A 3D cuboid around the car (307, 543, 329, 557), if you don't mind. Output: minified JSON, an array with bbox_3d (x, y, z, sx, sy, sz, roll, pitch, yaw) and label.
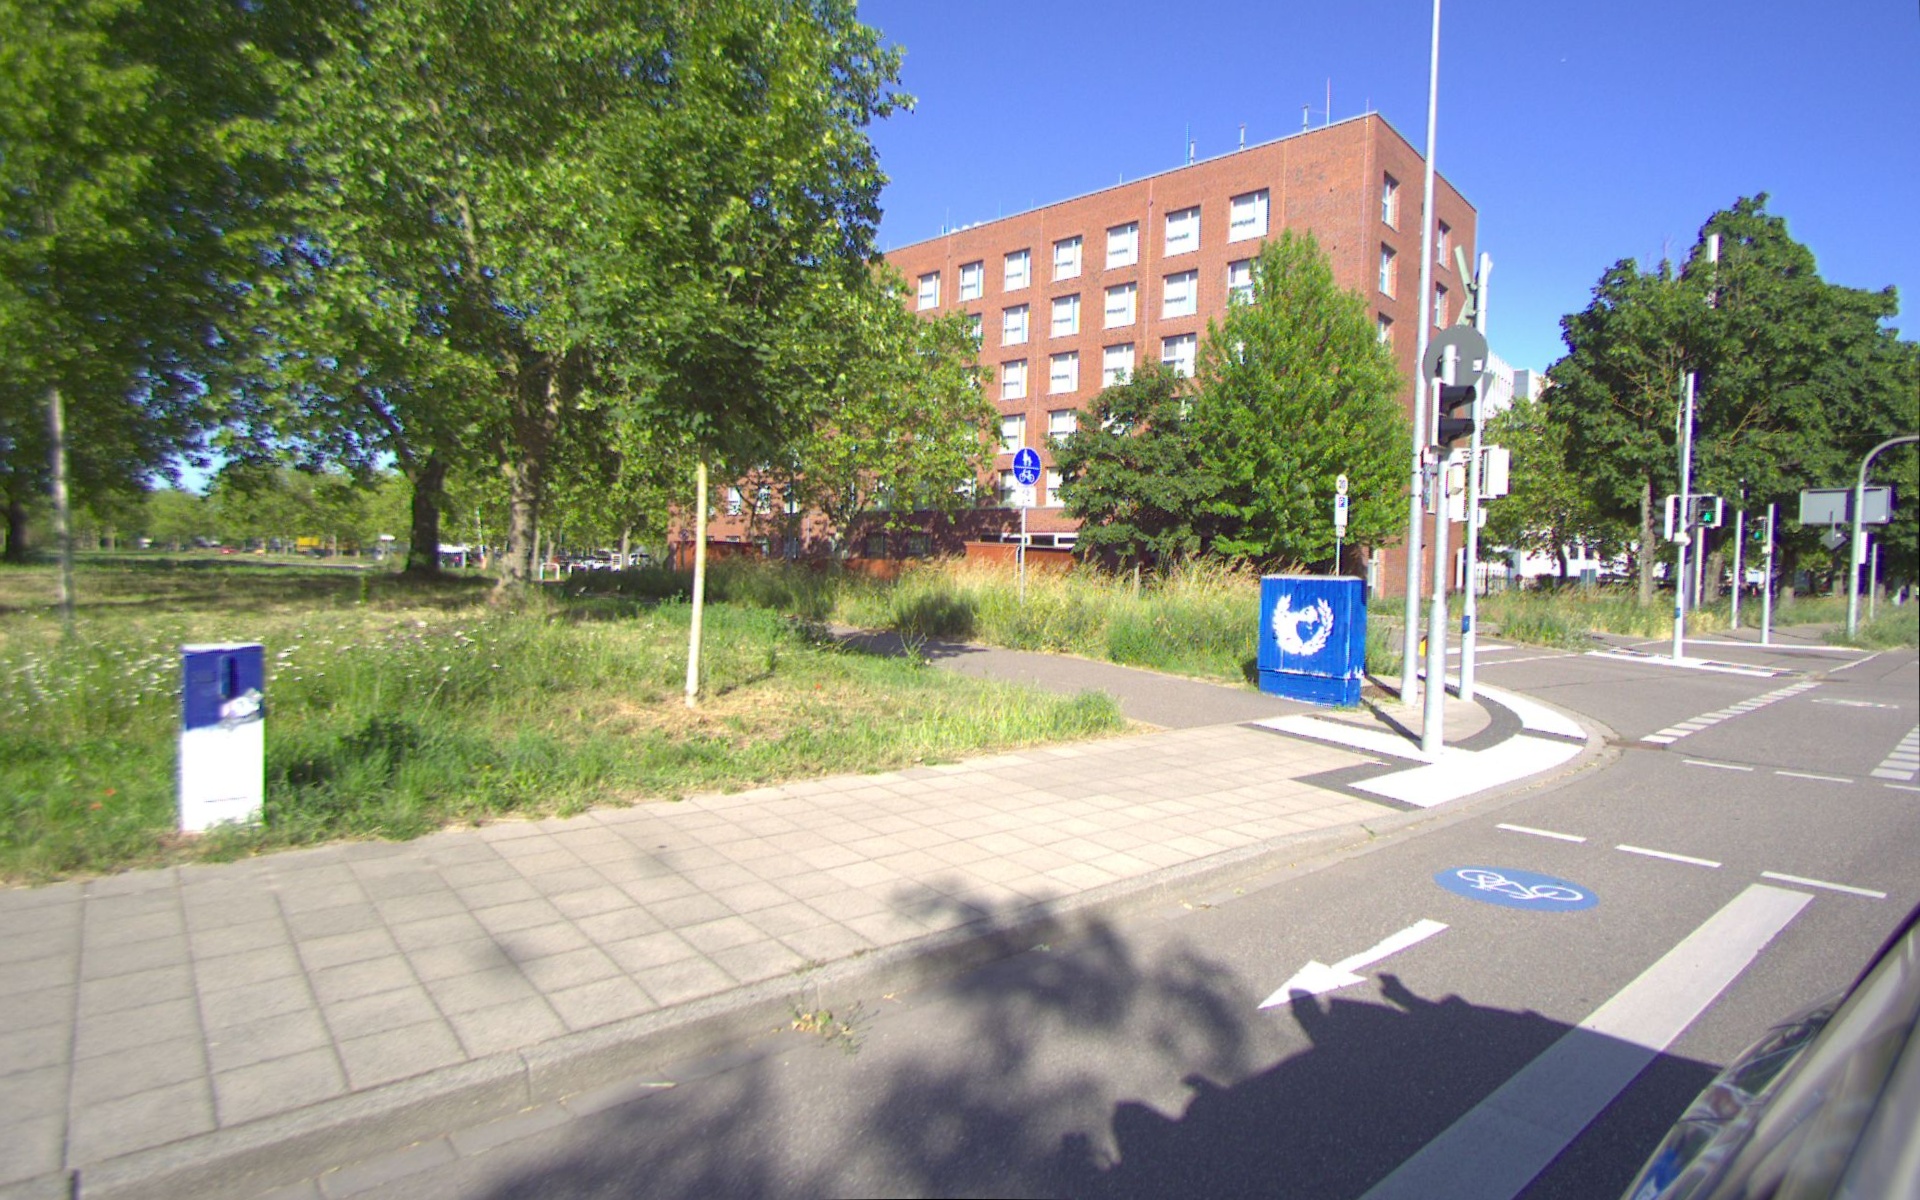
[{"bbox_3d":[-75.955,-5.965,119.700,1.927,1.550,4.002,1,3,-35],"label":"car"}]

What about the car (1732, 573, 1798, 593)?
[{"bbox_3d":[67.689,-1.447,85.144,1.706,1.523,4.044,0,3,-36],"label":"car"}]

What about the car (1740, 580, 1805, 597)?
[{"bbox_3d":[73.424,-1.049,91.478,1.789,1.449,4.181,0,2,-34],"label":"car"}]

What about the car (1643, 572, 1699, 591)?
[{"bbox_3d":[79.890,-2.101,113.739,1.938,1.974,4.764,1,3,-37],"label":"car"}]
